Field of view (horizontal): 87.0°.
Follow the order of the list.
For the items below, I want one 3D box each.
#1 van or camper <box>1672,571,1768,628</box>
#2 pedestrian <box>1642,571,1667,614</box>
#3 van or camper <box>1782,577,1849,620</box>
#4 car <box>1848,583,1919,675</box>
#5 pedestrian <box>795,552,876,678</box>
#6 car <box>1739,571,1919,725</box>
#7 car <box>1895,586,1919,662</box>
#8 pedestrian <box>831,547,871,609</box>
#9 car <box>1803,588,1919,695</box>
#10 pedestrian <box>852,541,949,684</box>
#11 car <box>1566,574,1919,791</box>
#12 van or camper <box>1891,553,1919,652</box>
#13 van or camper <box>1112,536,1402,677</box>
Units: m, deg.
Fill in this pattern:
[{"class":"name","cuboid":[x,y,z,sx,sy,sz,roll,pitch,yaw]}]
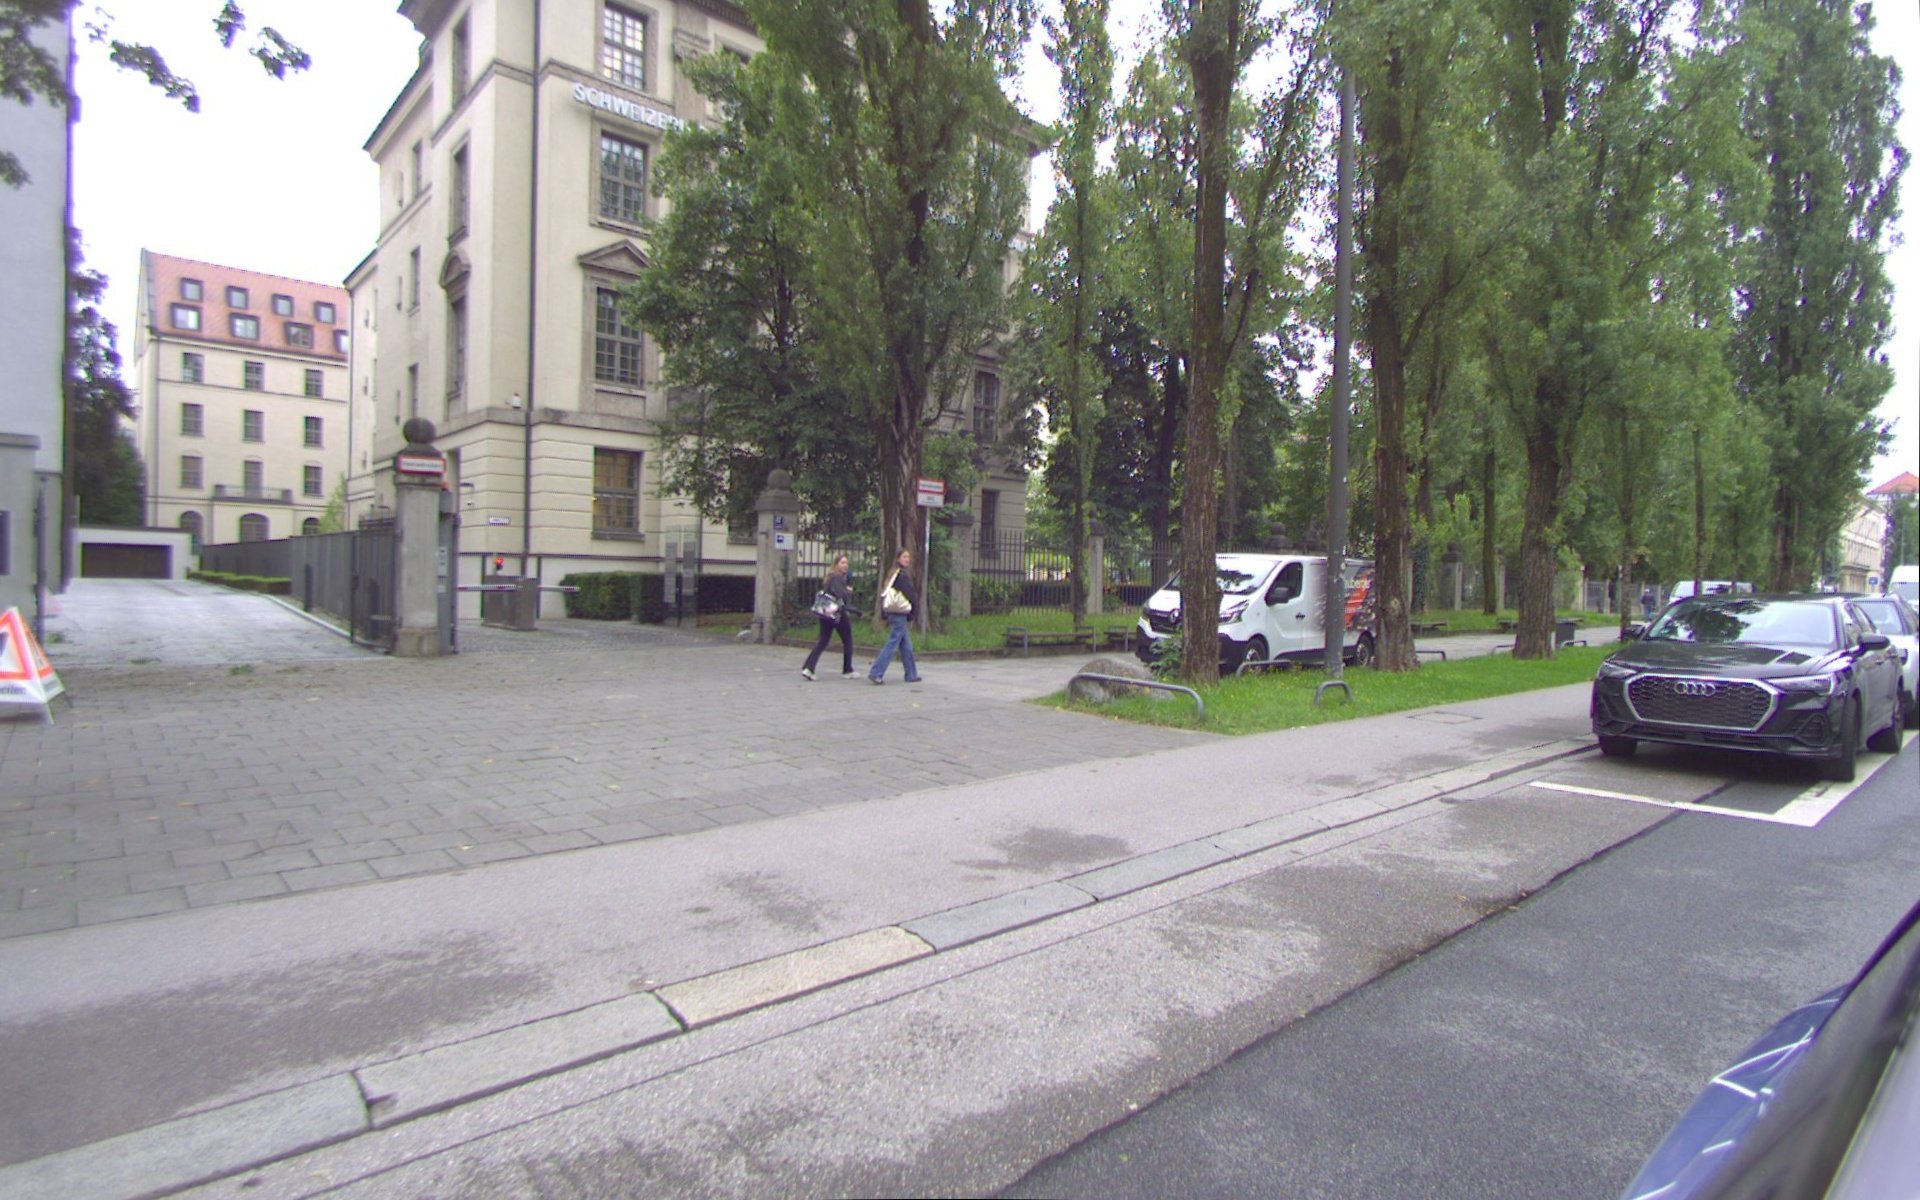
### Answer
[{"class":"van or camper","cuboid":[28.313,-0.028,37.623,4.952,1.958,1.978,0,0,-42]},{"class":"pedestrian","cuboid":[34.192,-0.377,49.835,0.898,2.038,0.946,2,1,33]},{"class":"van or camper","cuboid":[42.607,-0.080,50.368,4.902,2.039,2.005,0,0,-43]},{"class":"car","cuboid":[18.985,0.540,19.857,4.558,1.638,1.787,0,1,-42]},{"class":"pedestrian","cuboid":[-1.638,0.177,13.323,0.852,1.598,0.568,0,2,-42]},{"class":"car","cuboid":[11.871,0.526,13.319,4.501,1.696,1.746,0,1,-42]},{"class":"car","cuboid":[22.878,0.553,23.234,4.344,1.669,1.786,0,1,-44]},{"class":"pedestrian","cuboid":[-3.212,-0.658,29.846,0.879,1.790,0.797,1,1,-38]},{"class":"car","cuboid":[15.385,0.615,16.663,4.221,1.539,1.705,0,1,-42]},{"class":"pedestrian","cuboid":[-0.766,0.137,12.999,0.852,1.738,0.855,0,2,-42]},{"class":"car","cuboid":[7.558,0.594,9.559,4.386,1.560,1.884,0,1,-41]},{"class":"van or camper","cuboid":[27.643,0.079,27.986,6.306,2.572,2.142,0,1,-42]},{"class":"van or camper","cuboid":[5.023,0.084,16.643,5.275,1.958,2.080,0,0,-41]}]
